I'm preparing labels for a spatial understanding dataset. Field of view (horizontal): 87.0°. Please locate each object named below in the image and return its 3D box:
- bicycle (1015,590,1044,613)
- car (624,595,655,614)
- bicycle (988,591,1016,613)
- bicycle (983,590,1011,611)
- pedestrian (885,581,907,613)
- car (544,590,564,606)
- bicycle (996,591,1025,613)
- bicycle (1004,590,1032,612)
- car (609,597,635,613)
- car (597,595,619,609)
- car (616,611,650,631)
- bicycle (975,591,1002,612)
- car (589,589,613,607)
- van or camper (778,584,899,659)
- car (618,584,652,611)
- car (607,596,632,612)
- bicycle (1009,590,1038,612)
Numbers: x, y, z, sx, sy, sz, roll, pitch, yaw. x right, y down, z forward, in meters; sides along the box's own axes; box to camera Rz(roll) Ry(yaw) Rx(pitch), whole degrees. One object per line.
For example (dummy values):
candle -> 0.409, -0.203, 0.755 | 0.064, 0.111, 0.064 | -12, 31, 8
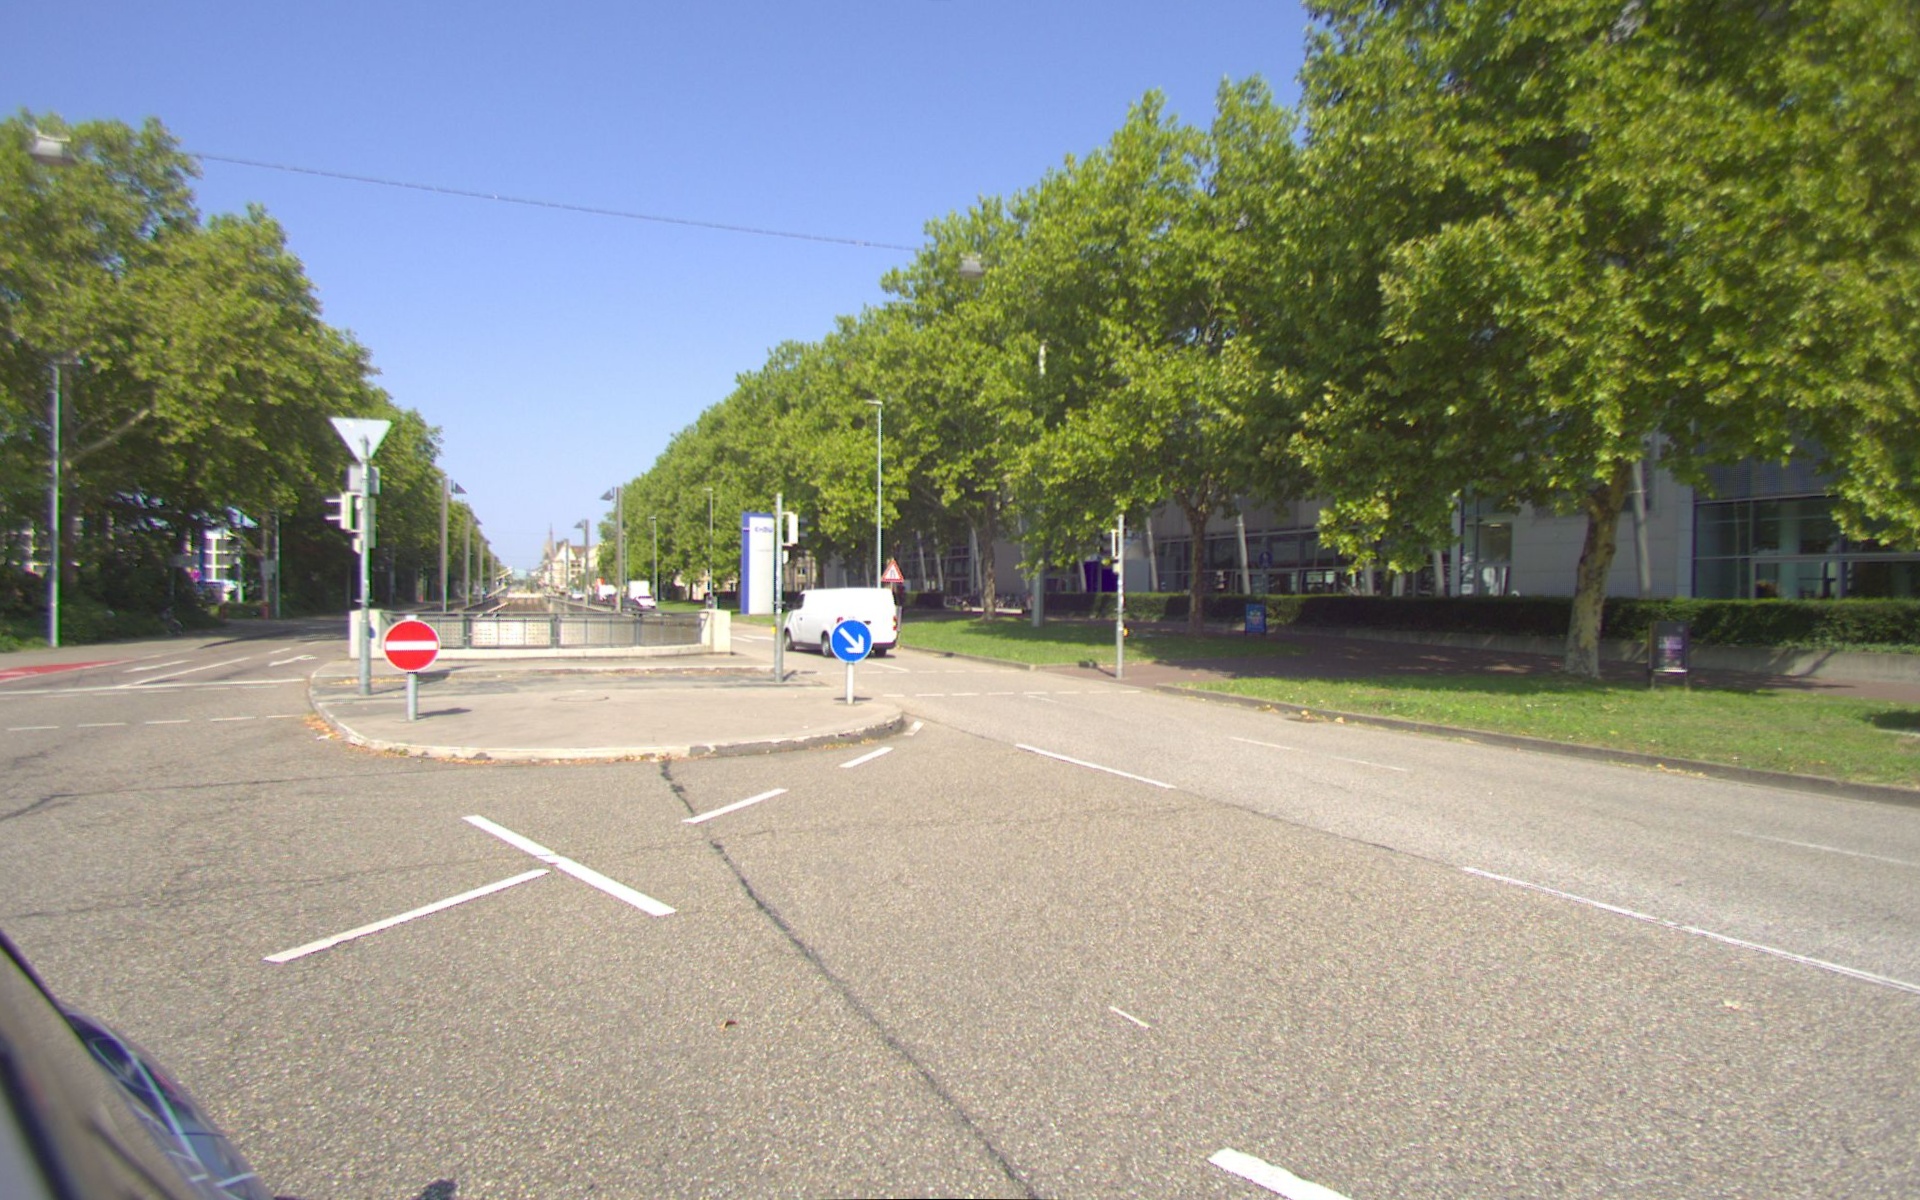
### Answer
bicycle -> 5.168, 0.117, 75.153 | 2.133, 1.566, 0.602 | -3, 1, -31
car -> -27.007, 0.389, 85.264 | 1.965, 1.464, 4.013 | -2, 1, -25
bicycle -> 3.281, 0.143, 78.090 | 2.133, 1.566, 0.602 | -3, 1, -31
bicycle -> 2.874, 0.025, 78.728 | 2.133, 1.566, 0.602 | -3, 1, -31
pedestrian -> -4.192, -0.188, 66.147 | 0.932, 2.028, 1.353 | -2, 1, -22
car -> -55.048, -0.316, 137.090 | 1.966, 2.028, 4.013 | -3, 1, -29
bicycle -> 3.845, 0.128, 77.113 | 2.133, 1.566, 0.602 | -3, 1, -31
bicycle -> 4.369, 0.058, 76.347 | 2.133, 1.566, 0.602 | -3, 1, -31
car -> -33.212, 0.496, 99.423 | 1.965, 1.464, 4.013 | -2, 1, -25
car -> -39.780, 0.212, 114.353 | 1.965, 1.464, 4.013 | -2, 1, -25
car -> -22.903, 1.417, 70.850 | 1.633, 1.230, 3.907 | -2, 1, -26
bicycle -> 2.247, 0.103, 79.801 | 2.133, 1.566, 0.602 | -3, 1, -31
car -> -44.417, -0.219, 125.187 | 2.253, 2.095, 4.671 | -2, 1, -25
van or camper -> -3.584, 0.622, 29.050 | 1.815, 1.962, 4.963 | 1, -2, -27
car -> -28.933, -0.231, 90.003 | 2.253, 2.249, 4.671 | -2, 1, -25
car -> -35.188, 0.392, 104.655 | 1.965, 1.464, 4.013 | -2, 1, -25
bicycle -> 4.771, 0.060, 75.831 | 2.133, 1.566, 0.602 | -3, 1, -31
